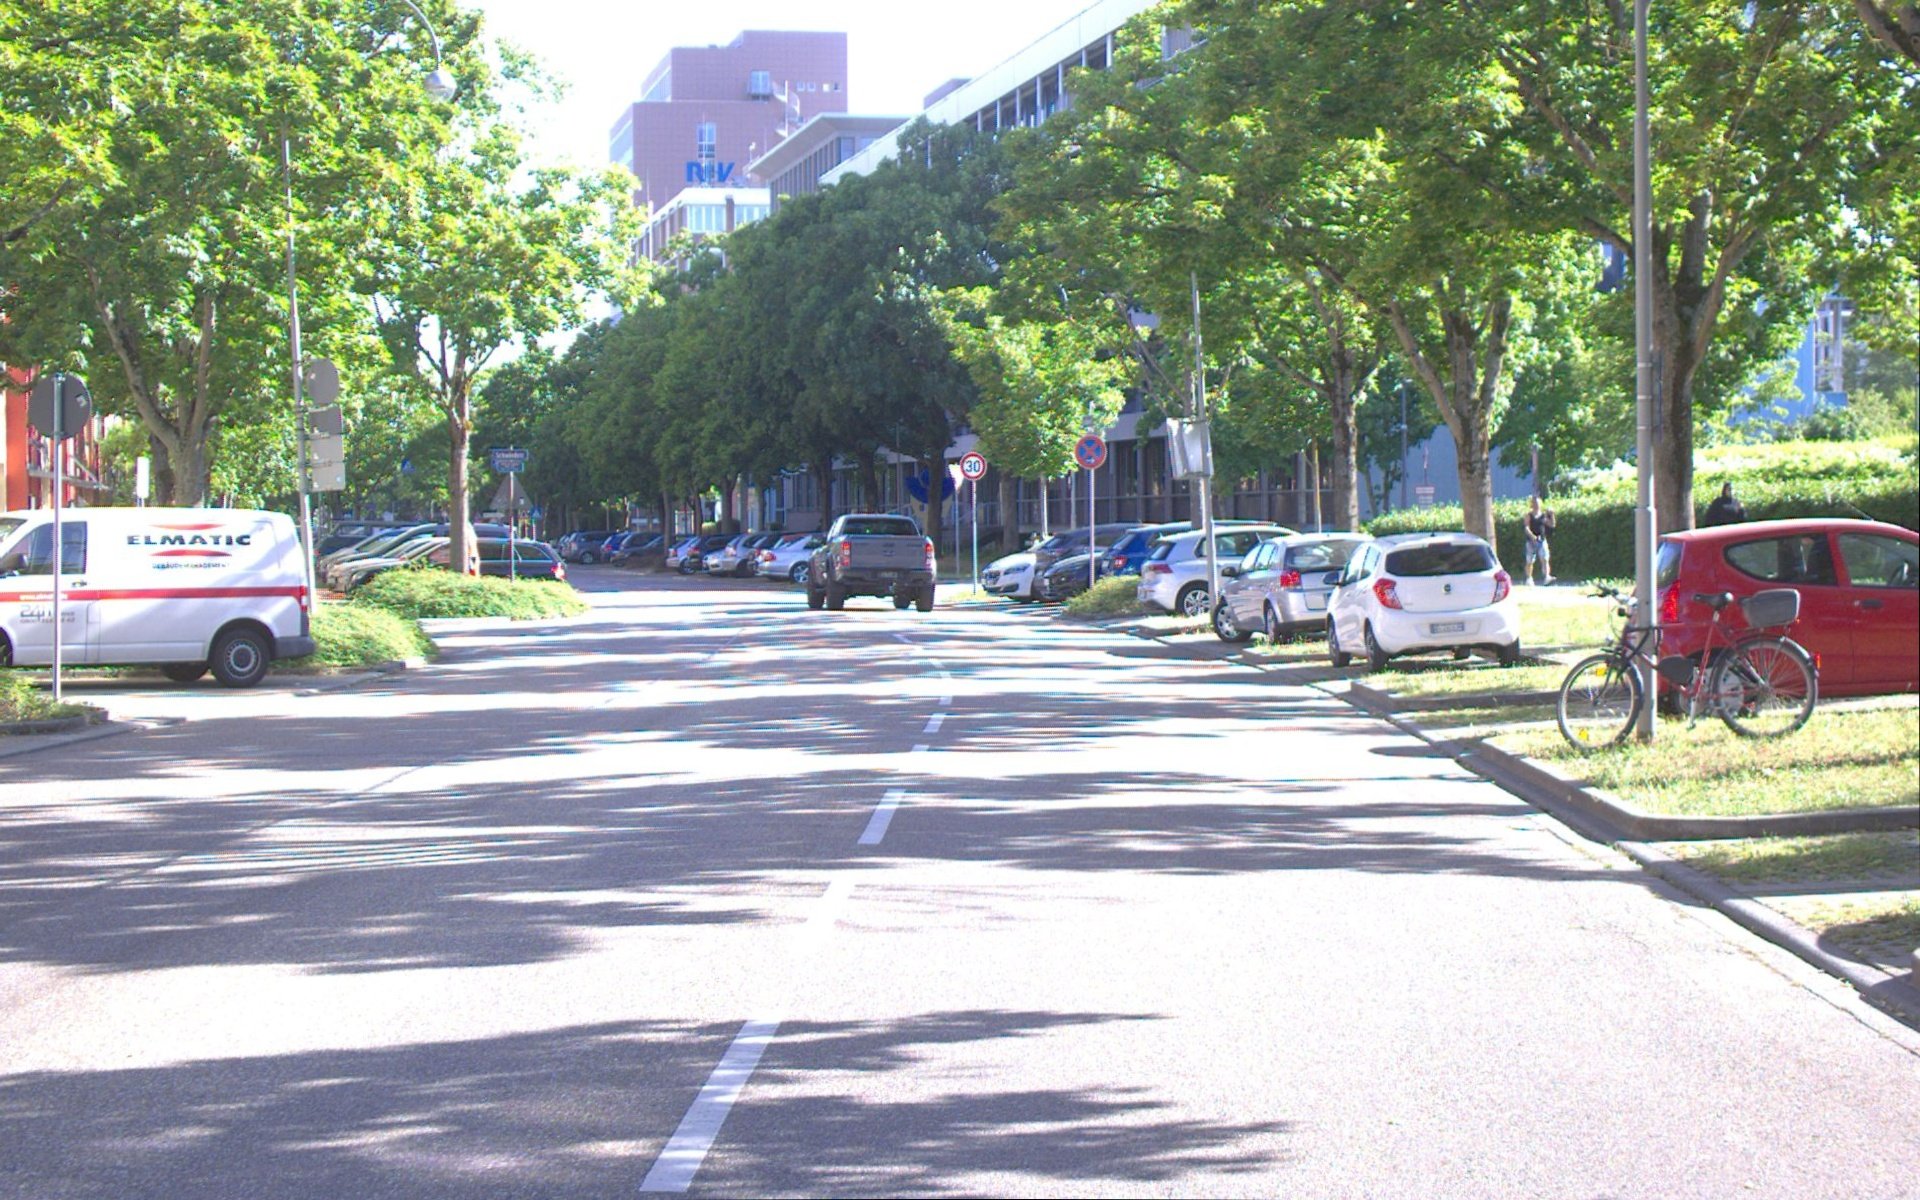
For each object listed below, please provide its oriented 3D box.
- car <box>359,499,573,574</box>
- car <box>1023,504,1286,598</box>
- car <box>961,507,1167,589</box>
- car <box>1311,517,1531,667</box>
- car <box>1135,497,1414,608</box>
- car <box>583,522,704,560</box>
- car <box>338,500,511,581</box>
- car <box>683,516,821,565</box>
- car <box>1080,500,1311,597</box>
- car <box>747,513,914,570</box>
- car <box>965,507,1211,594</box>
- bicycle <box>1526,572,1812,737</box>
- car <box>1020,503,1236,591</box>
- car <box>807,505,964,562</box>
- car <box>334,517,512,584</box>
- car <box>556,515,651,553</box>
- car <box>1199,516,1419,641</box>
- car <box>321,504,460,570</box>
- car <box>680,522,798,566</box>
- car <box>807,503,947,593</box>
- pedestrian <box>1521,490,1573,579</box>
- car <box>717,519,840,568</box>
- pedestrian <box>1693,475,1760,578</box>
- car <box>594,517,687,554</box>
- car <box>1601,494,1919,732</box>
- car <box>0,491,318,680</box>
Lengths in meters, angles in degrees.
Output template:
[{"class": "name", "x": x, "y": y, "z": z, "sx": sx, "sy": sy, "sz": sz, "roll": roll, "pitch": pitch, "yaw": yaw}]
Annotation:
[{"class": "car", "x": -10.057, "y": -1.298, "z": 70.158, "sx": 4.262, "sy": 1.418, "sz": 1.740, "roll": 1, "pitch": 1, "yaw": -7}, {"class": "car", "x": 3.667, "y": -0.923, "z": 65.251, "sx": 4.548, "sy": 1.509, "sz": 2.159, "roll": -3, "pitch": 1, "yaw": -10}, {"class": "car", "x": 2.202, "y": -1.106, "z": 72.825, "sx": 3.947, "sy": 1.509, "sz": 1.702, "roll": -3, "pitch": 1, "yaw": -17}, {"class": "car", "x": 5.046, "y": -0.129, "z": 38.046, "sx": 1.643, "sy": 1.488, "sz": 3.766, "roll": -3, "pitch": 2, "yaw": -3}, {"class": "car", "x": 4.957, "y": -0.761, "z": 54.504, "sx": 4.089, "sy": 1.424, "sz": 1.643, "roll": -5, "pitch": 1, "yaw": -4}, {"class": "car", "x": -13.447, "y": -2.508, "z": 145.995, "sx": 4.823, "sy": 1.415, "sz": 2.033, "roll": -3, "pitch": 2, "yaw": -13}, {"class": "car", "x": -12.513, "y": -1.391, "z": 80.226, "sx": 3.891, "sy": 1.805, "sz": 1.786, "roll": 1, "pitch": 1, "yaw": -11}, {"class": "car", "x": -7.097, "y": -2.045, "z": 117.198, "sx": 4.284, "sy": 1.488, "sz": 2.005, "roll": -3, "pitch": 2, "yaw": -18}, {"class": "car", "x": 4.273, "y": -0.945, "z": 62.608, "sx": 3.804, "sy": 1.443, "sz": 1.745, "roll": -5, "pitch": 1, "yaw": -9}, {"class": "car", "x": -3.763, "y": -1.702, "z": 99.753, "sx": 4.577, "sy": 1.470, "sz": 1.747, "roll": -3, "pitch": 2, "yaw": -10}, {"class": "car", "x": 2.605, "y": -1.011, "z": 70.258, "sx": 4.548, "sy": 1.509, "sz": 1.983, "roll": -3, "pitch": 1, "yaw": -17}, {"class": "bicycle", "x": 4.575, "y": 0.349, "z": 22.196, "sx": 1.752, "sy": 0.987, "sz": 0.530, "roll": -2, "pitch": 1, "yaw": 13}, {"class": "car", "x": 3.297, "y": -1.043, "z": 67.777, "sx": 3.874, "sy": 1.509, "sz": 1.751, "roll": -3, "pitch": 1, "yaw": -10}, {"class": "car", "x": -2.259, "y": -2.009, "z": 103.651, "sx": 4.514, "sy": 1.537, "sz": 1.922, "roll": -2, "pitch": 2, "yaw": -7}, {"class": "car", "x": -12.165, "y": -1.127, "z": 77.819, "sx": 3.891, "sy": 1.418, "sz": 1.740, "roll": 1, "pitch": 1, "yaw": -11}, {"class": "car", "x": -17.444, "y": -3.240, "z": 168.297, "sx": 4.350, "sy": 1.698, "sz": 1.813, "roll": -3, "pitch": 2, "yaw": -14}, {"class": "car", "x": 4.628, "y": -0.321, "z": 46.285, "sx": 1.808, "sy": 1.488, "sz": 4.625, "roll": -3, "pitch": 2, "yaw": -8}, {"class": "car", "x": -18.951, "y": -2.095, "z": 114.423, "sx": 4.487, "sy": 2.082, "sz": 2.083, "roll": 1, "pitch": 1, "yaw": -9}, {"class": "car", "x": -7.947, "y": -2.011, "z": 123.795, "sx": 3.968, "sy": 1.415, "sz": 1.711, "roll": -3, "pitch": 2, "yaw": -13}, {"class": "car", "x": -1.621, "y": -0.995, "z": 65.614, "sx": 1.993, "sy": 1.634, "sz": 4.001, "roll": 1, "pitch": 1, "yaw": -11}, {"class": "pedestrian", "x": 10.273, "y": -1.145, "z": 60.179, "sx": 0.606, "sy": 1.537, "sz": 0.937, "roll": -1, "pitch": 1, "yaw": -9}, {"class": "car", "x": -6.059, "y": -1.881, "z": 114.524, "sx": 3.742, "sy": 1.488, "sz": 1.617, "roll": -3, "pitch": 2, "yaw": -17}, {"class": "pedestrian", "x": 11.922, "y": -1.143, "z": 53.497, "sx": 0.723, "sy": 1.582, "sz": 0.853, "roll": -1, "pitch": 1, "yaw": -9}, {"class": "car", "x": -14.350, "y": -2.913, "z": 154.415, "sx": 3.948, "sy": 1.509, "sz": 1.813, "roll": -2, "pitch": 2, "yaw": -10}, {"class": "car", "x": 6.575, "y": 0.035, "z": 25.040, "sx": 3.434, "sy": 1.539, "sz": 1.627, "roll": -4, "pitch": 1, "yaw": 1}, {"class": "car", "x": -9.657, "y": -0.191, "z": 37.659, "sx": 4.756, "sy": 1.978, "sz": 2.000, "roll": -1, "pitch": 2, "yaw": -35}]
